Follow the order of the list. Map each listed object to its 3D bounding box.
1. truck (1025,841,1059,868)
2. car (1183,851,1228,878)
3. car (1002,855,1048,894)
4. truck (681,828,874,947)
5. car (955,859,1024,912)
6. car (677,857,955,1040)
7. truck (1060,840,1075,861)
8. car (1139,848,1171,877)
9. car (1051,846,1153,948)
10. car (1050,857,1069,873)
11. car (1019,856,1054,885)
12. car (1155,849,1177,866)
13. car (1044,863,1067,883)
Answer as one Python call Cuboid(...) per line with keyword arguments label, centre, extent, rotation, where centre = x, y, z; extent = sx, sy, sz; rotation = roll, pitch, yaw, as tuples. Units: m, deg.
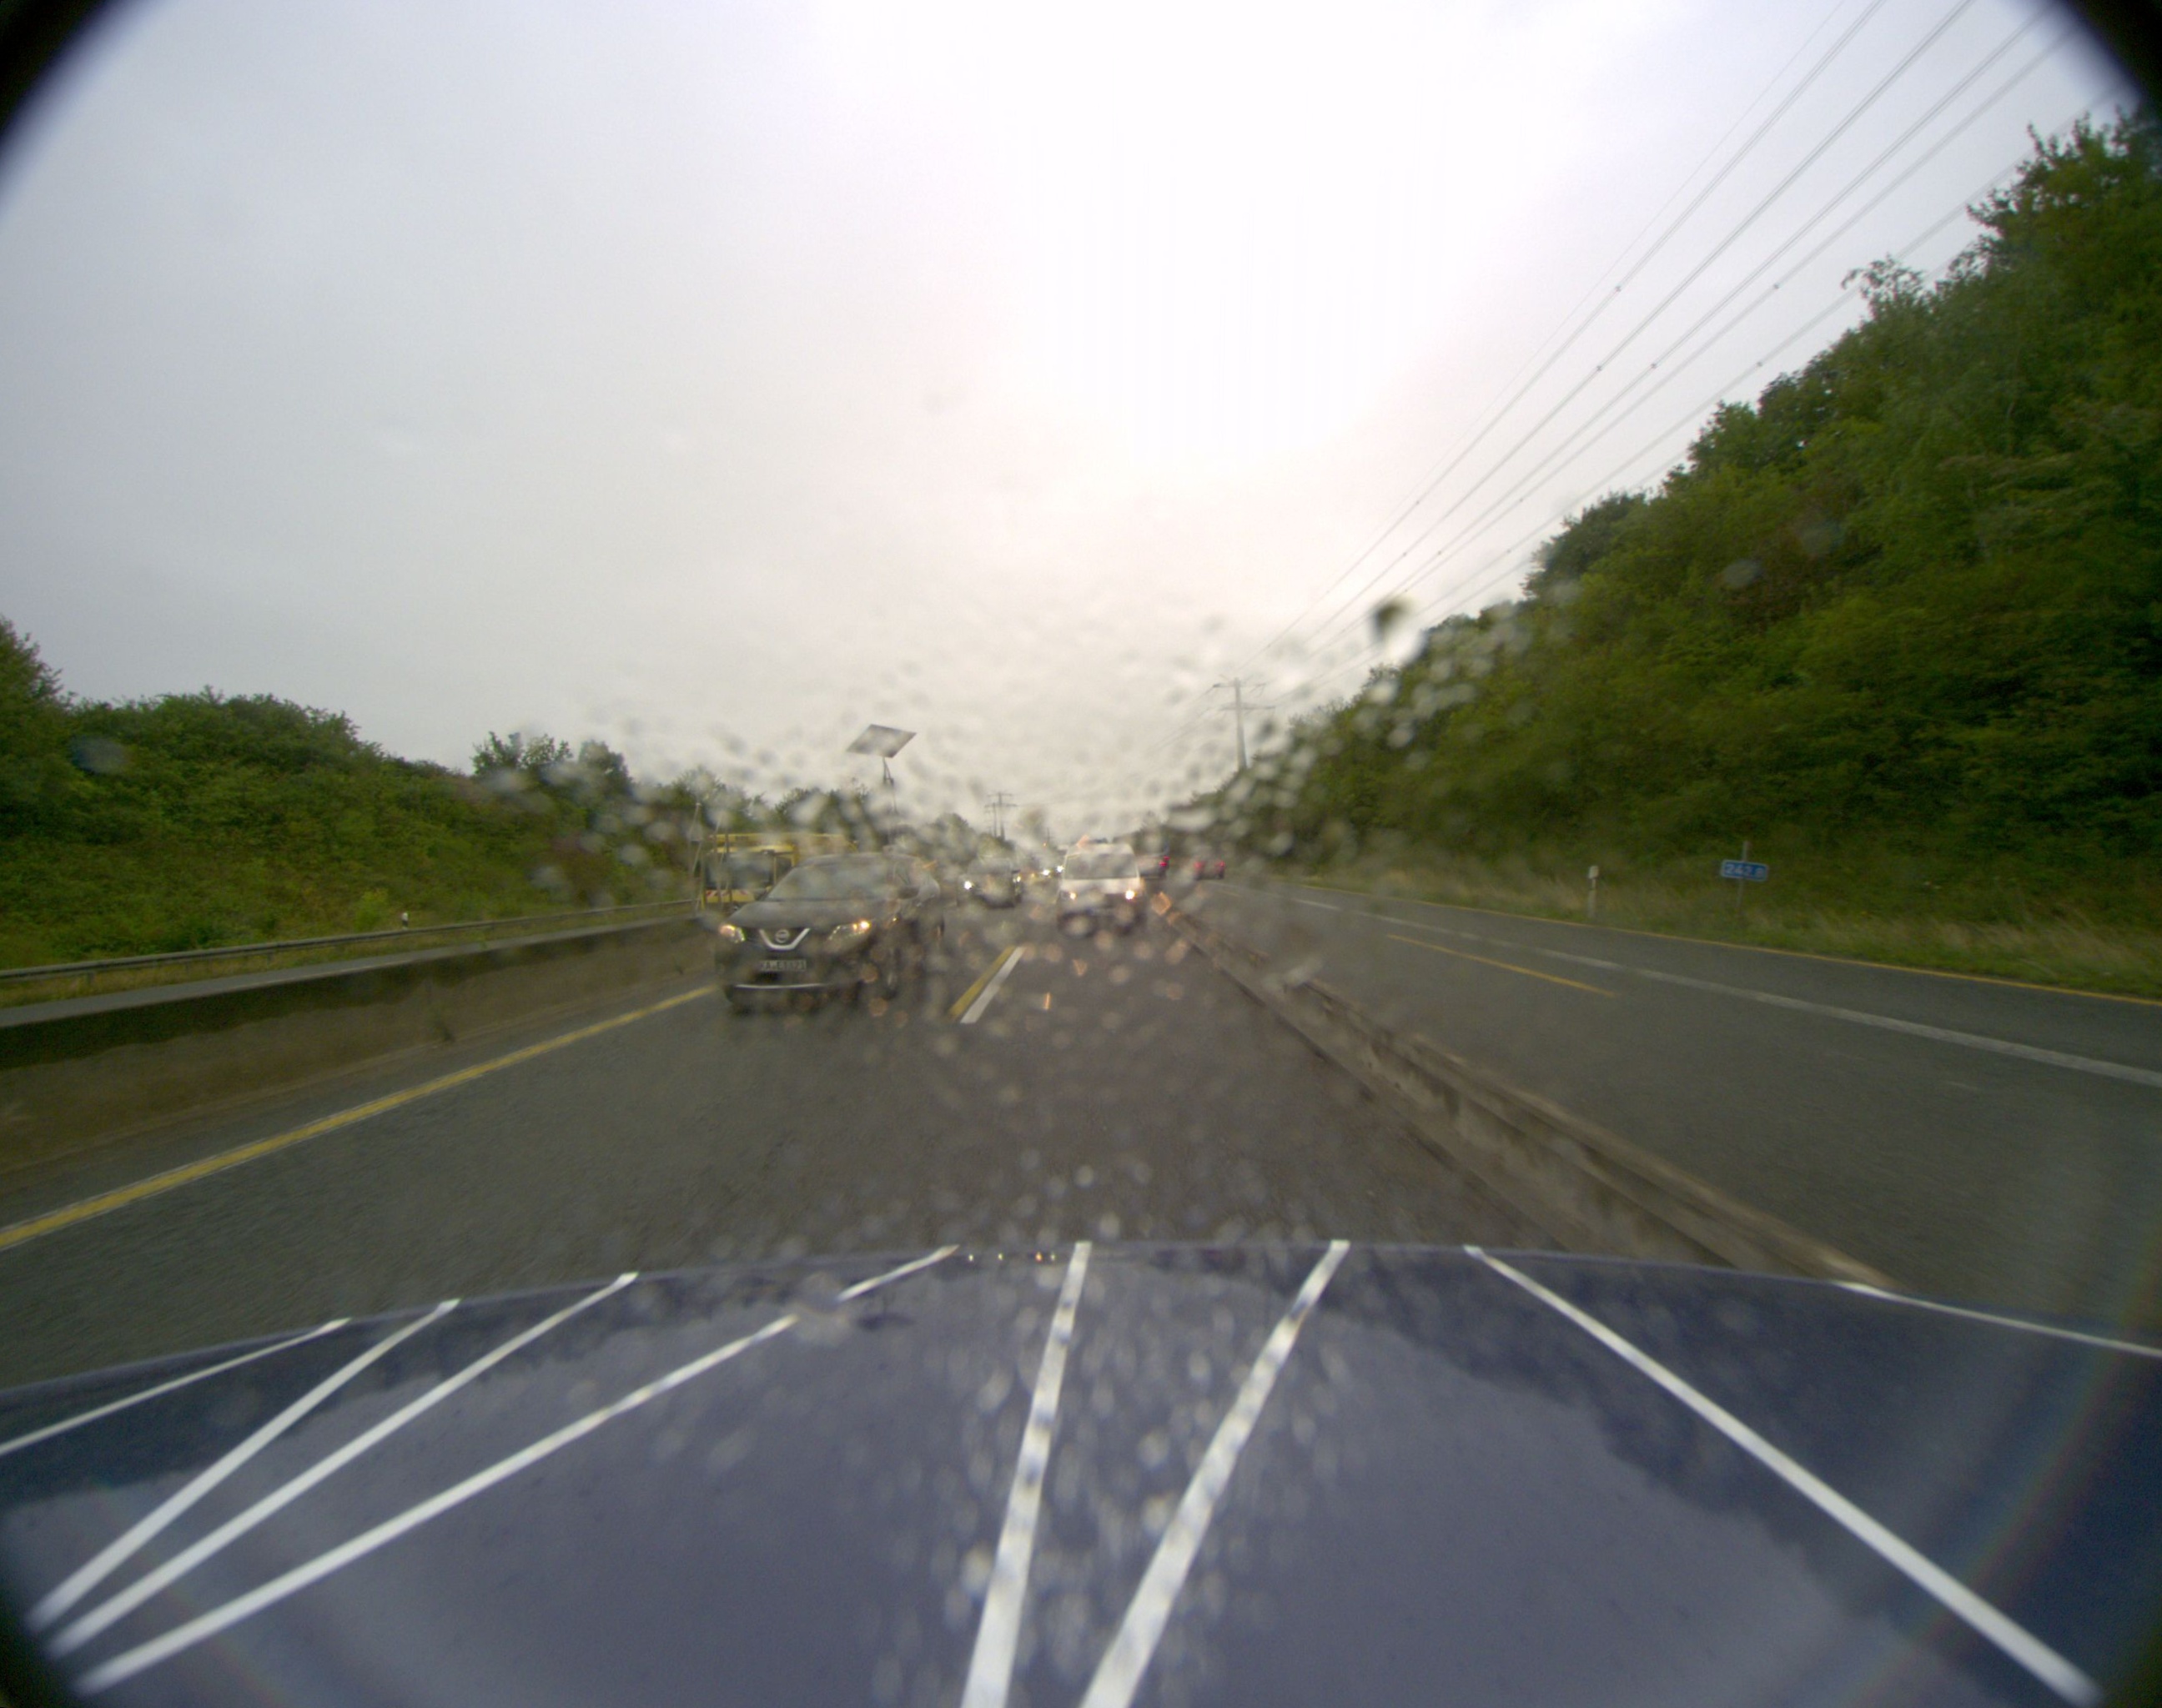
Cuboid(label="truck", centre=(-5.352, 0.040, 102.539), extent=(2.622, 3.404, 9.563), rotation=(-2, 1, -14))
Cuboid(label="car", centre=(7.281, 0.558, 44.720), extent=(1.778, 1.442, 4.448), rotation=(-2, 1, -1))
Cuboid(label="car", centre=(-2.532, 0.910, 34.984), extent=(1.784, 1.589, 4.123), rotation=(-2, 1, 0))
Cuboid(label="truck", centre=(-10.207, 0.929, 27.085), extent=(2.619, 3.404, 9.575), rotation=(-2, 1, 2))
Cuboid(label="car", centre=(-2.941, 0.978, 25.192), extent=(1.784, 1.482, 4.123), rotation=(-2, 1, 0))
Cuboid(label="car", centre=(-2.962, 0.928, 9.732), extent=(1.894, 1.665, 4.640), rotation=(-2, 1, 0))
Cuboid(label="truck", centre=(-2.575, -0.680, 146.987), extent=(2.619, 3.868, 9.574), rotation=(-2, 1, 0))
Cuboid(label="car", centre=(4.632, 0.495, 47.791), extent=(1.766, 1.674, 4.000), rotation=(-2, 1, 3))
Cuboid(label="car", centre=(0.362, 0.754, 16.004), extent=(1.784, 1.775, 4.697), rotation=(-2, 1, 0))
Cuboid(label="car", centre=(-2.135, 1.047, 75.782), extent=(1.784, 1.482, 4.123), rotation=(-2, 1, 0))
Cuboid(label="car", centre=(-2.516, 0.888, 43.798), extent=(1.784, 1.482, 4.123), rotation=(-2, 1, 0))
Cuboid(label="car", centre=(8.816, 0.325, 78.946), extent=(1.875, 1.593, 4.000), rotation=(-2, 1, 1))
Cuboid(label="car", centre=(-2.122, 1.572, 63.968), extent=(1.784, 1.482, 4.123), rotation=(-2, 1, 0))
